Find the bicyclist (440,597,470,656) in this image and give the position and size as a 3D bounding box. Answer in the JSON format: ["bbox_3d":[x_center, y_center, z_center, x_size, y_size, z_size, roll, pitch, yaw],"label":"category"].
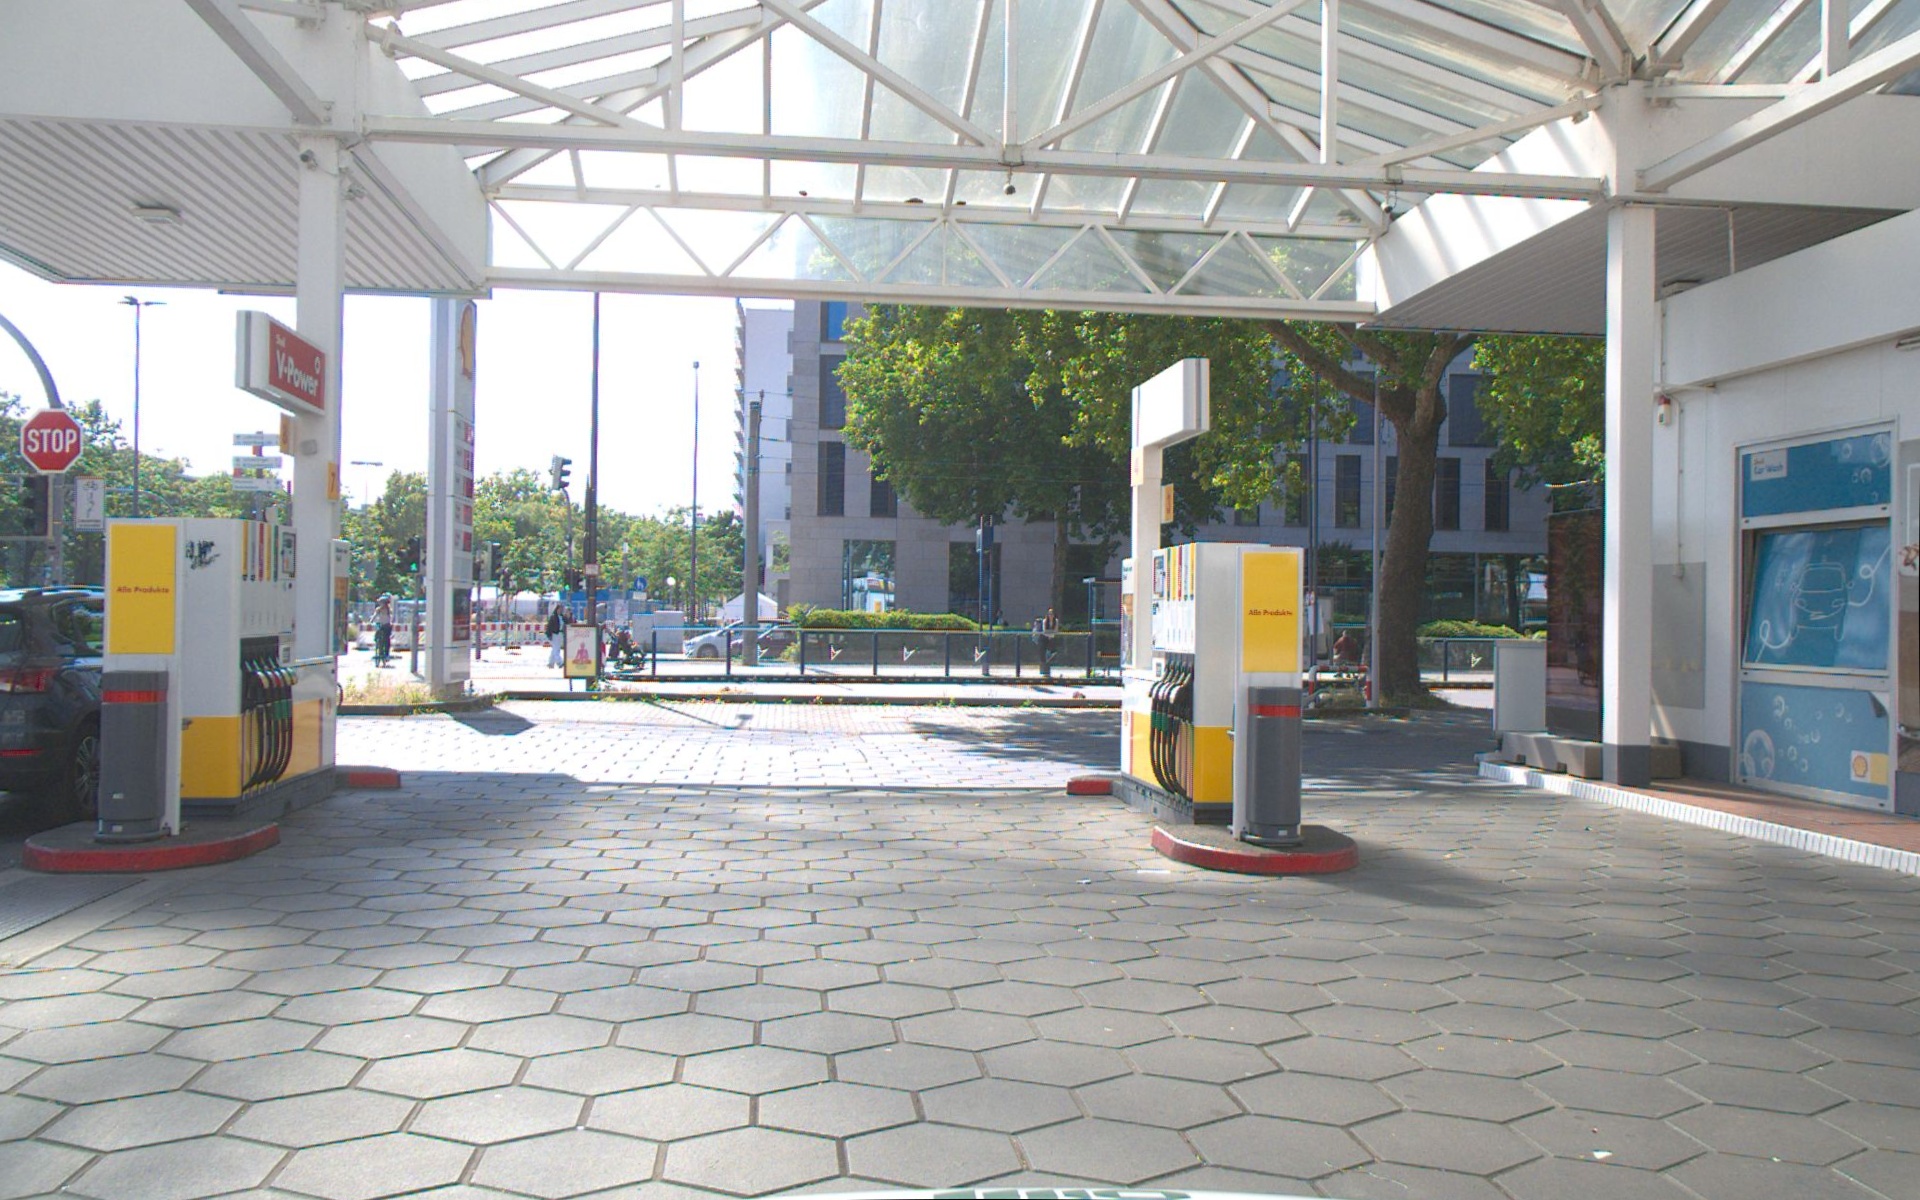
[{"bbox_3d":[-13.619,0.719,44.576,0.528,1.571,0.856,2,-2,-33],"label":"bicyclist"}]

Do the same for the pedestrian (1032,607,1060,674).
[{"bbox_3d":[2.120,1.000,40.766,0.573,1.619,0.669,1,1,-7],"label":"pedestrian"}]

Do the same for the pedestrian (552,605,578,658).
[{"bbox_3d":[-12.008,0.954,50.270,0.637,1.567,0.503,1,-1,2],"label":"pedestrian"}]

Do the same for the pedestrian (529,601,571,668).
[{"bbox_3d":[-10.743,0.901,43.372,0.912,1.712,0.503,1,-1,5],"label":"pedestrian"}]

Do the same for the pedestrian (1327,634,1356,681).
[{"bbox_3d":[9.683,1.458,41.976,0.615,1.158,0.524,1,-1,0],"label":"pedestrian"}]

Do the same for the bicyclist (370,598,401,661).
[{"bbox_3d":[-15.041,0.764,43.322,0.627,1.608,1.168,1,-1,-15],"label":"bicyclist"}]

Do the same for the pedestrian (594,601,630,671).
[{"bbox_3d":[-8.582,0.890,40.789,0.765,1.712,0.500,1,-1,-20],"label":"pedestrian"}]

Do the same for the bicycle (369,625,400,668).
[{"bbox_3d":[-15.135,1.212,43.518,0.627,1.101,2.017,1,-1,-15],"label":"bicycle"}]

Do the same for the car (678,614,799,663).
[{"bbox_3d":[-7.487,1.285,55.691,3.917,1.579,1.698,1,-1,-12],"label":"car"}]

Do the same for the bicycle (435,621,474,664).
[{"bbox_3d":[-13.621,1.139,44.538,0.518,1.101,1.846,1,-1,-32],"label":"bicycle"}]

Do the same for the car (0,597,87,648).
[{"bbox_3d":[-38.815,0.957,69.502,1.953,2.049,4.445,-1,-1,-1],"label":"car"}]

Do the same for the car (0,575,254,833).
[{"bbox_3d":[-6.610,0.671,11.946,1.710,1.559,3.994,0,-1,-7],"label":"car"}]

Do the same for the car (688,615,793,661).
[{"bbox_3d":[-7.902,1.375,59.511,3.617,1.579,1.587,1,-1,-12],"label":"car"}]

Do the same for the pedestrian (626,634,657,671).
[{"bbox_3d":[-7.903,1.306,41.039,0.680,0.896,0.500,1,-1,-20],"label":"pedestrian"}]
